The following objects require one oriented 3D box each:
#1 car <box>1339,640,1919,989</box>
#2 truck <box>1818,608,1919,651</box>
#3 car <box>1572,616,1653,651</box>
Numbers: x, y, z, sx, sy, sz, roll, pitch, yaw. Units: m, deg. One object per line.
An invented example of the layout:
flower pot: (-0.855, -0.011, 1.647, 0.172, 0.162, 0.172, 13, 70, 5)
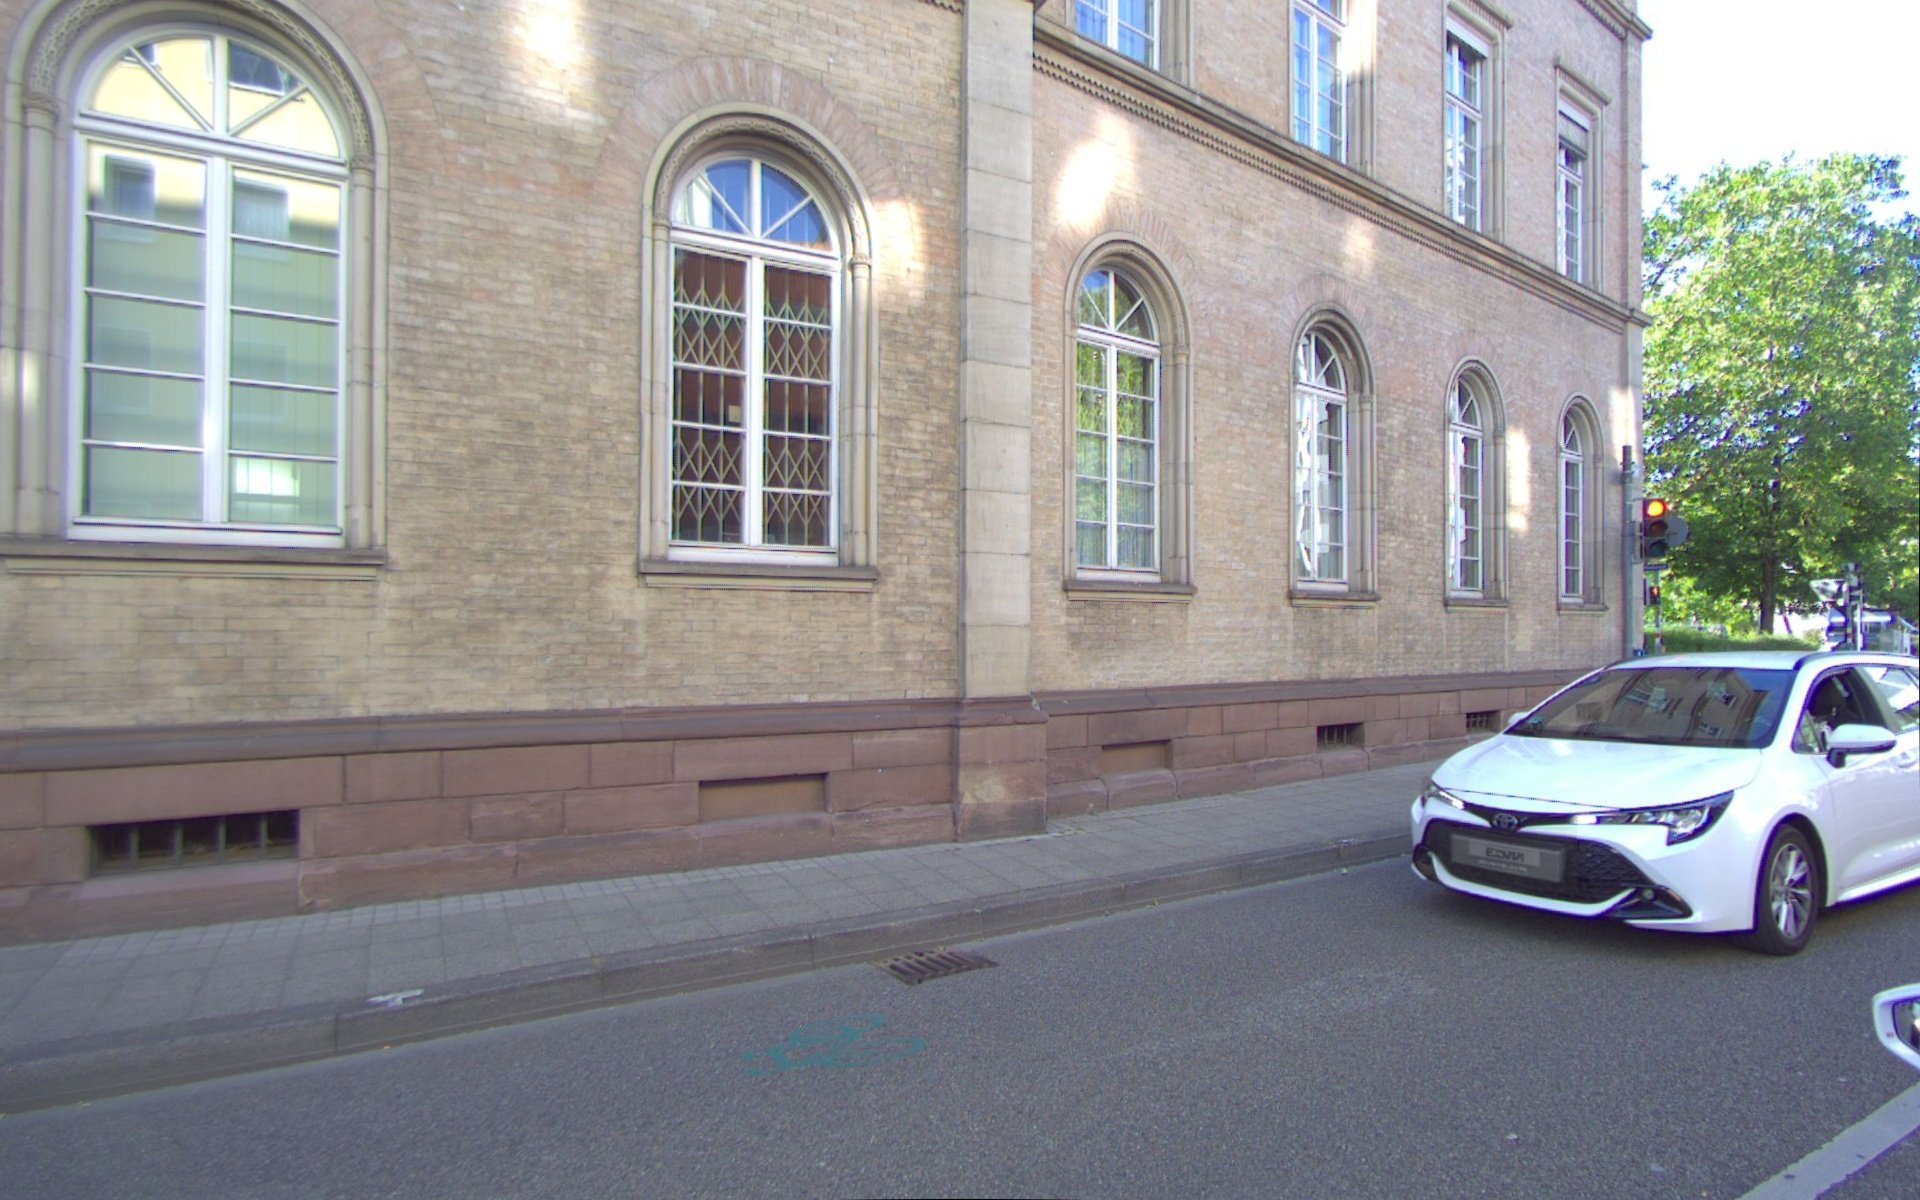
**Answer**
car: (4.684, 1.021, 6.263, 4.489, 1.495, 1.879, 1, -4, -29)
truck: (53.757, 1.675, 59.061, 2.069, 2.431, 4.790, 1, -1, -39)
car: (47.832, 2.482, 73.714, 2.056, 2.423, 4.521, 2, -3, -38)
